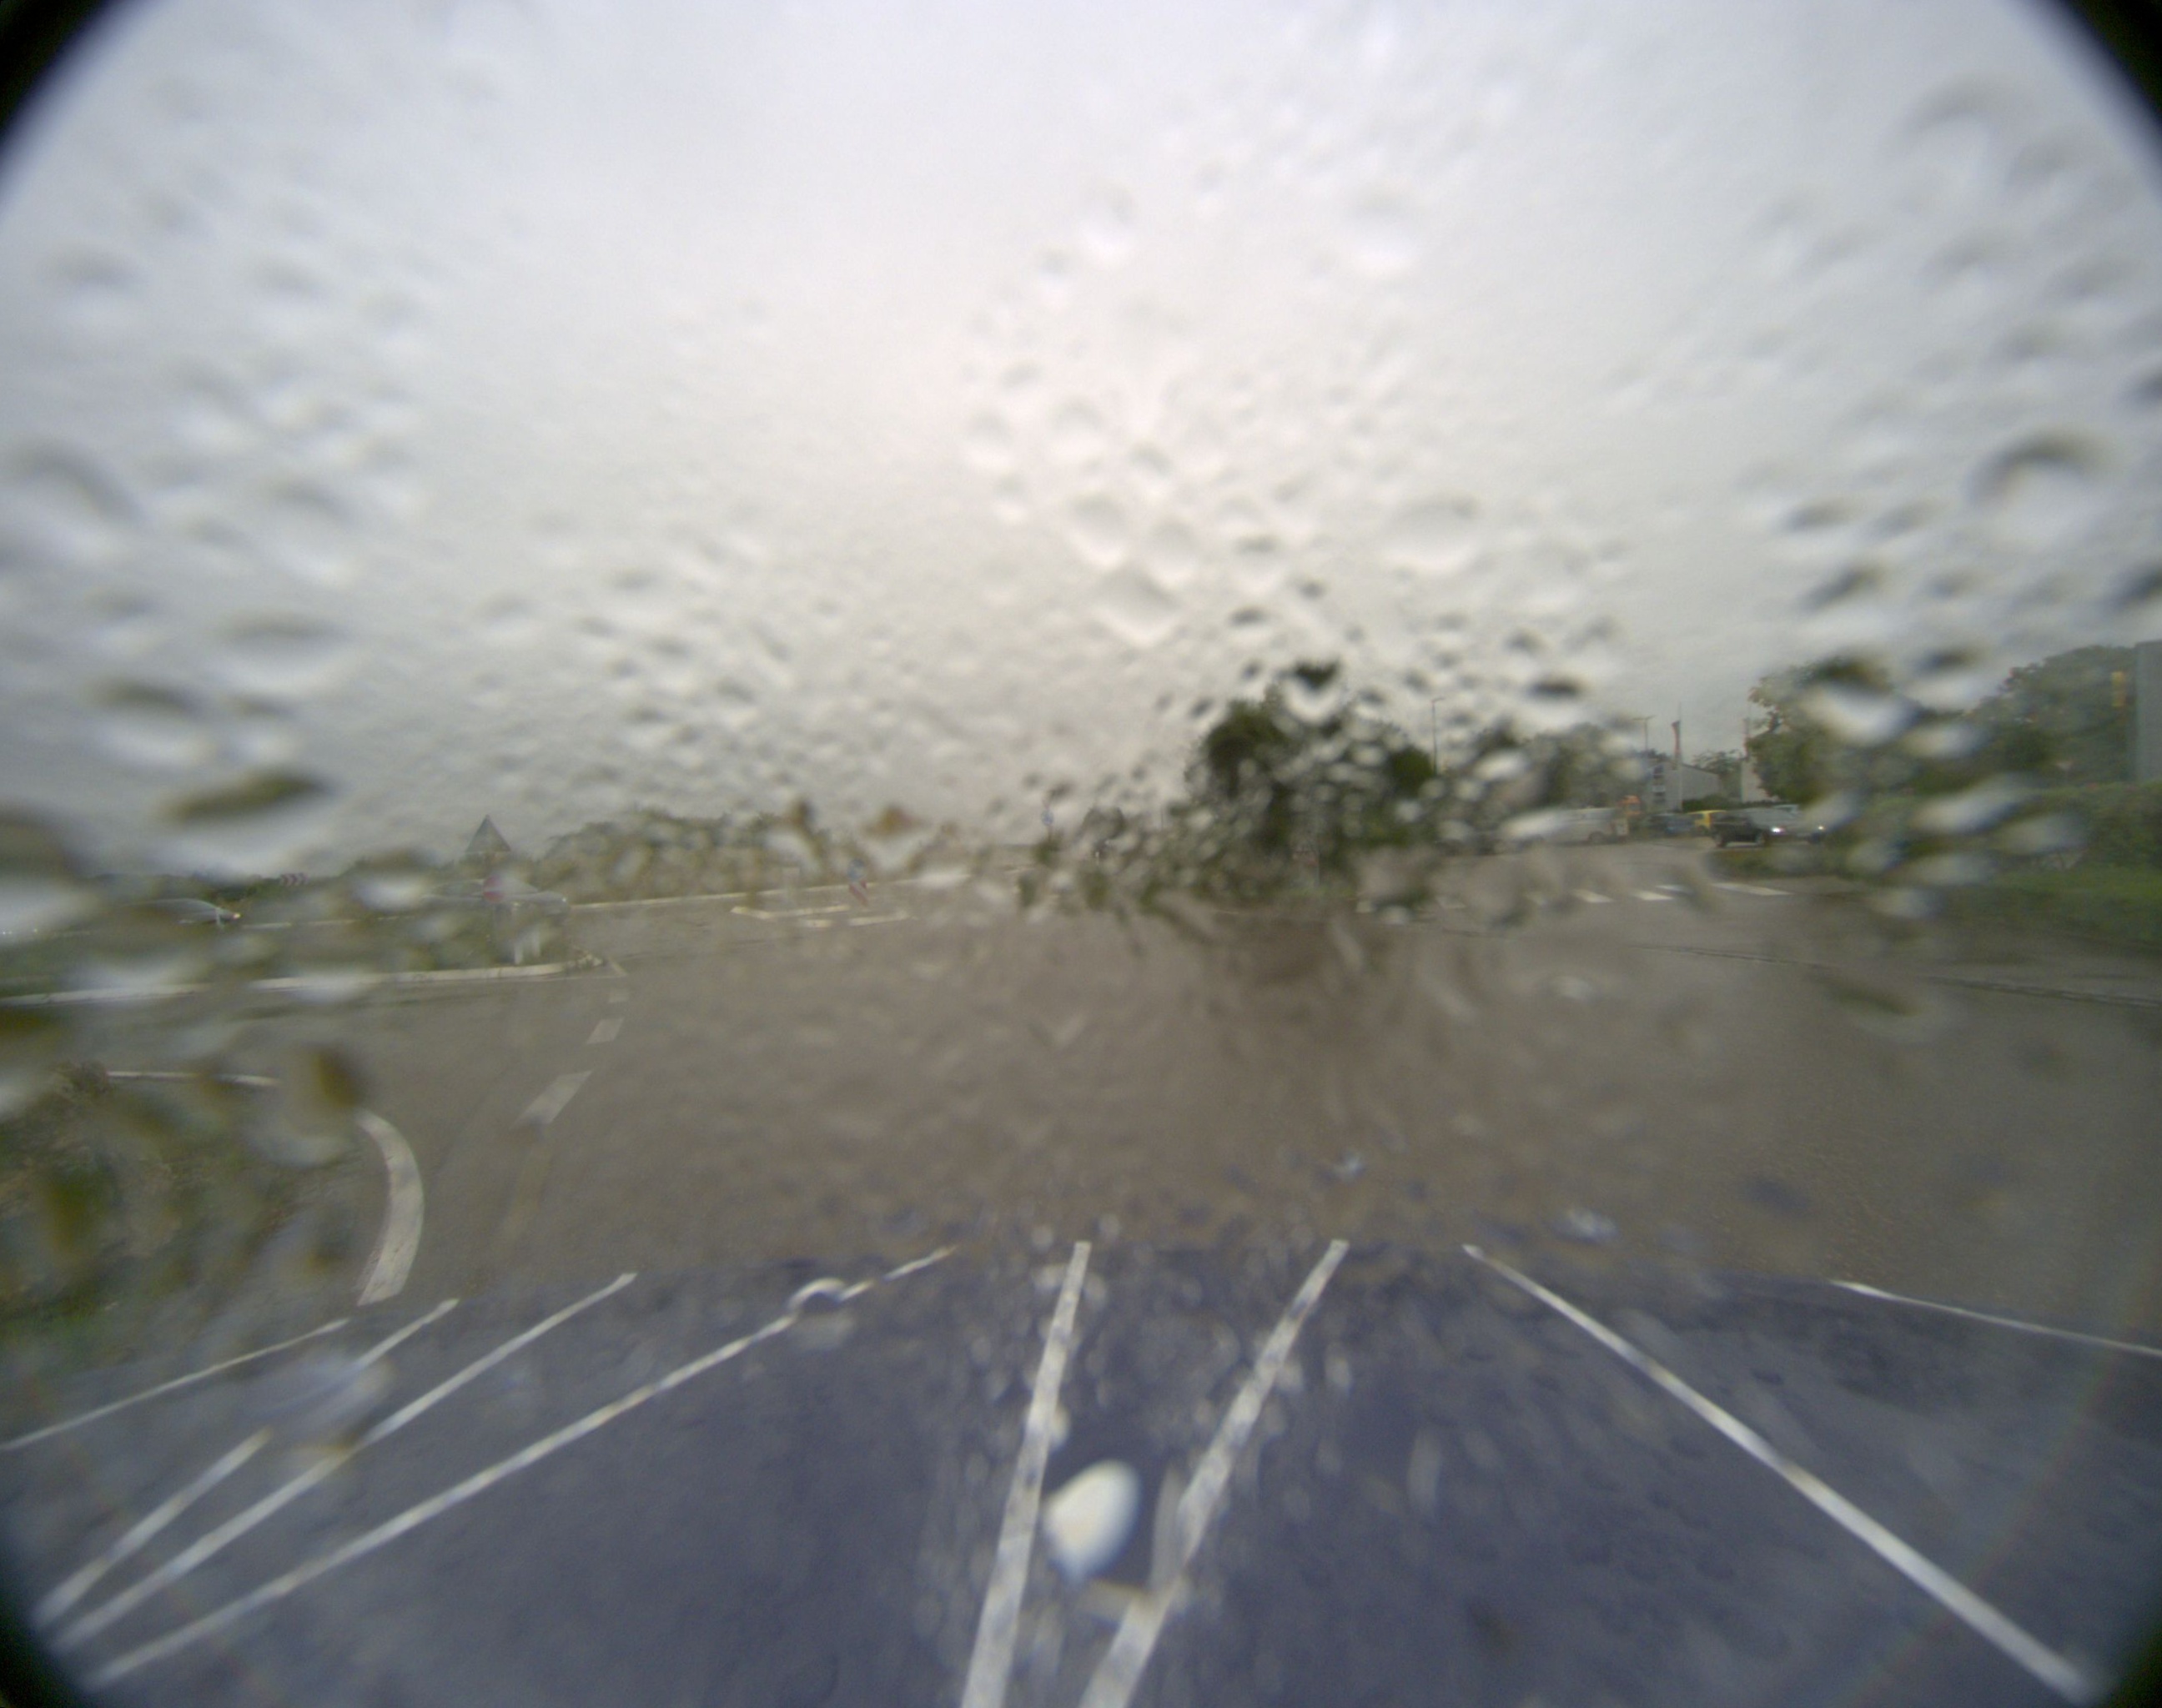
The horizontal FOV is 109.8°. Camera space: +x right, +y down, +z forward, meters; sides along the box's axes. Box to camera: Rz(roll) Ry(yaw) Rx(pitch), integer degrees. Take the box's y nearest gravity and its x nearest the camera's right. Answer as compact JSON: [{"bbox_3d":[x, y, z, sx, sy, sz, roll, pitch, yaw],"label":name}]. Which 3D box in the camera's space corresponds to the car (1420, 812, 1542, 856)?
[{"bbox_3d":[18.819,-0.915,35.960,2.003,1.711,4.599,-4,0,-36],"label":"car"}]

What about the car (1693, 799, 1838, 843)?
[{"bbox_3d":[25.531,-1.191,28.587,1.704,1.417,4.361,-4,1,5],"label":"car"}]

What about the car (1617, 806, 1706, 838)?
[{"bbox_3d":[34.043,-1.837,44.745,1.998,1.541,4.651,-4,0,7],"label":"car"}]

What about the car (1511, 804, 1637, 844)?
[{"bbox_3d":[26.903,-1.599,41.672,2.003,1.711,5.365,-4,0,-36],"label":"car"}]

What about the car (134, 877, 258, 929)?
[{"bbox_3d":[-31.897,1.755,27.396,3.990,1.582,1.828,-2,4,26],"label":"car"}]

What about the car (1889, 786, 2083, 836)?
[{"bbox_3d":[32.191,-1.505,27.161,1.853,1.416,4.349,-4,1,-37],"label":"car"}]

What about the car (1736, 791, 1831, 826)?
[{"bbox_3d":[41.243,-2.610,44.743,1.988,1.718,4.001,-4,0,3],"label":"car"}]

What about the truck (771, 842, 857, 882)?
[{"bbox_3d":[-28.365,0.818,80.779,8.159,3.577,3.120,-4,1,17],"label":"truck"}]

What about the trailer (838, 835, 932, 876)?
[{"bbox_3d":[-20.217,0.173,78.353,8.843,3.593,3.103,-4,1,17],"label":"trailer"}]

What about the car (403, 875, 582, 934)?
[{"bbox_3d":[-18.461,1.573,23.910,4.492,1.566,2.001,-2,2,14],"label":"car"}]

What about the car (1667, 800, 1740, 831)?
[{"bbox_3d":[36.784,-2.246,45.008,1.664,1.540,3.729,-4,0,9],"label":"car"}]
